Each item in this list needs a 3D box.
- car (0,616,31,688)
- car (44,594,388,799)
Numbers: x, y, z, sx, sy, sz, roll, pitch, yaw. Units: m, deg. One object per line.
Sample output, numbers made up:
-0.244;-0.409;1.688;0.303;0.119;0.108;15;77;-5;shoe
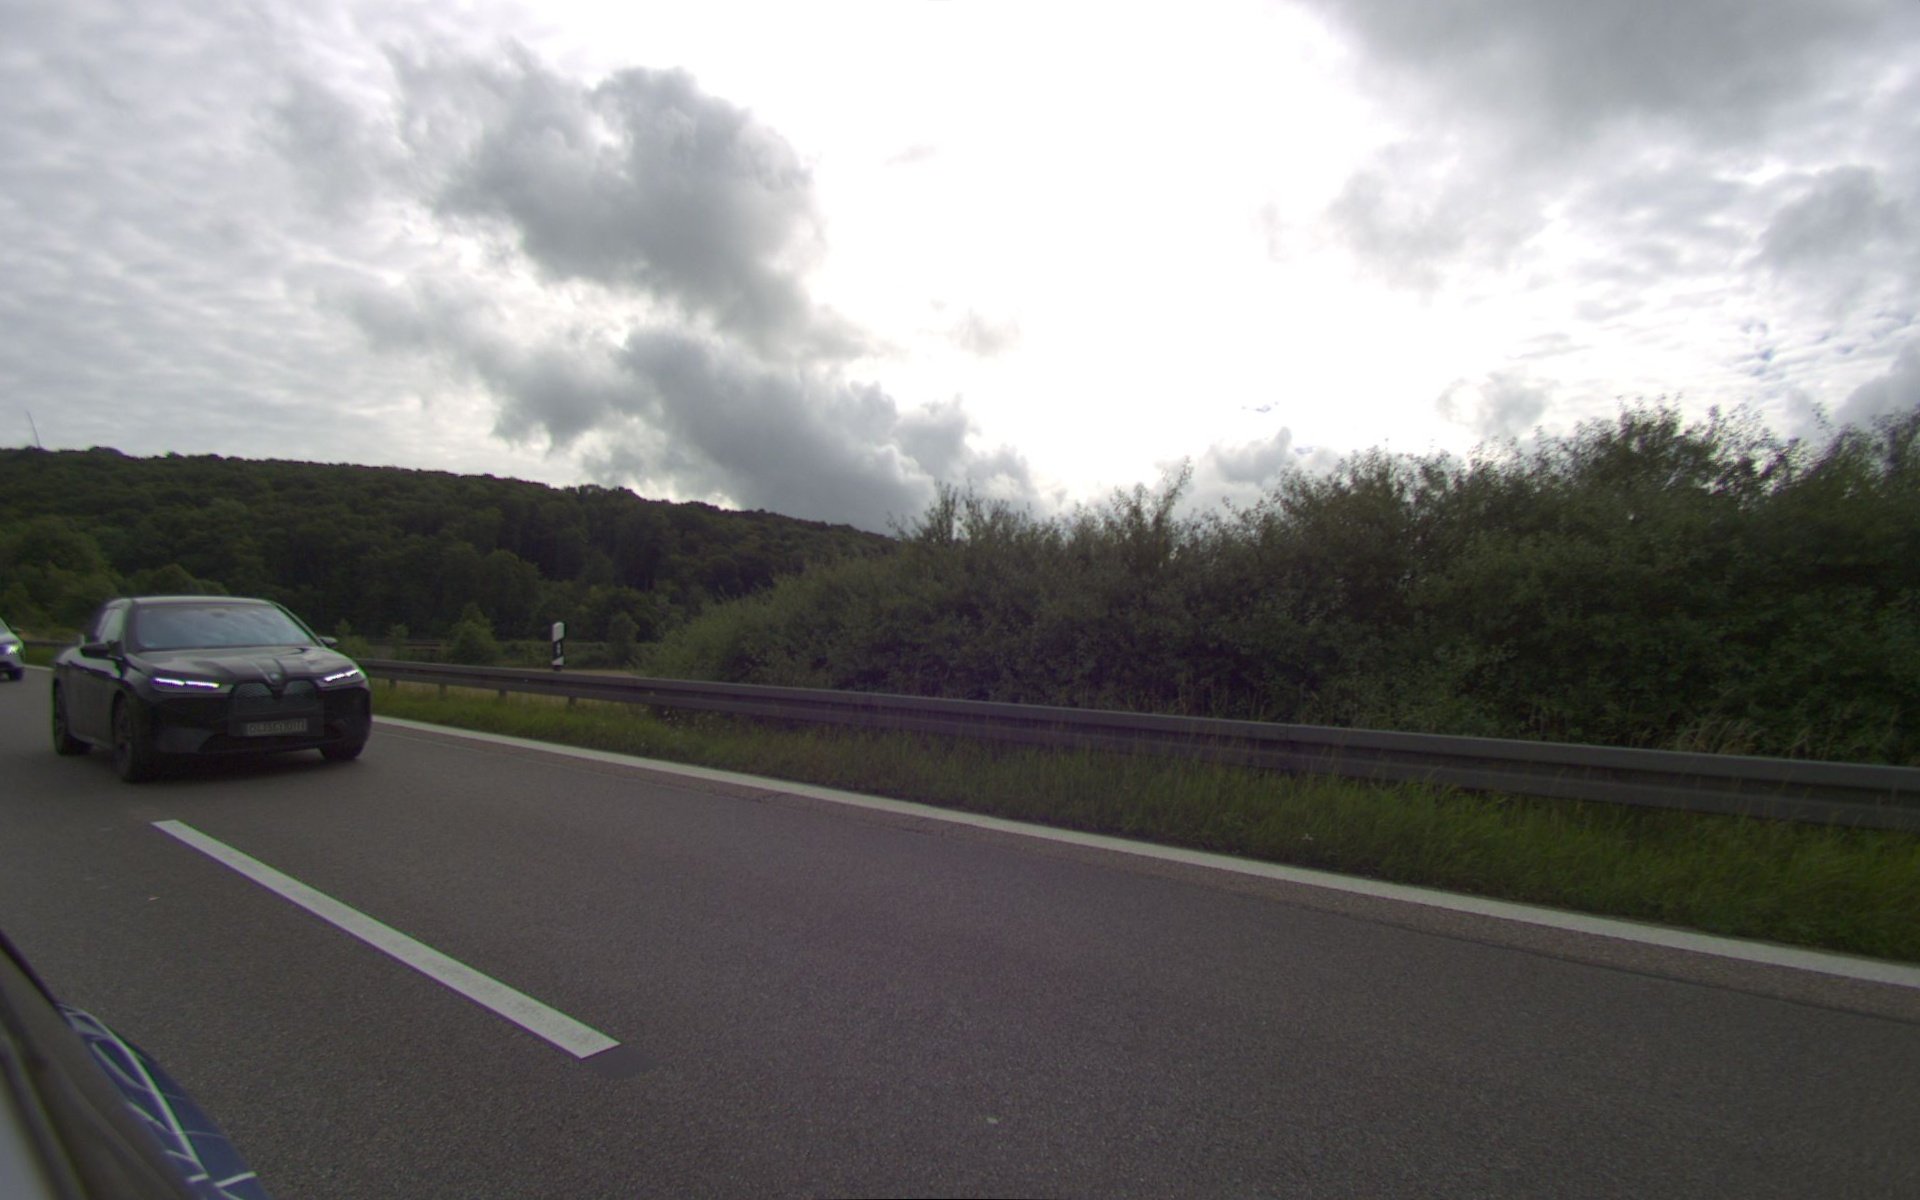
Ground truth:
-24.447;1.243;24.661;4.409;1.678;1.974;-1;-2;39;car
-7.842;0.838;10.503;4.413;1.678;1.973;-1;-1;41;car
